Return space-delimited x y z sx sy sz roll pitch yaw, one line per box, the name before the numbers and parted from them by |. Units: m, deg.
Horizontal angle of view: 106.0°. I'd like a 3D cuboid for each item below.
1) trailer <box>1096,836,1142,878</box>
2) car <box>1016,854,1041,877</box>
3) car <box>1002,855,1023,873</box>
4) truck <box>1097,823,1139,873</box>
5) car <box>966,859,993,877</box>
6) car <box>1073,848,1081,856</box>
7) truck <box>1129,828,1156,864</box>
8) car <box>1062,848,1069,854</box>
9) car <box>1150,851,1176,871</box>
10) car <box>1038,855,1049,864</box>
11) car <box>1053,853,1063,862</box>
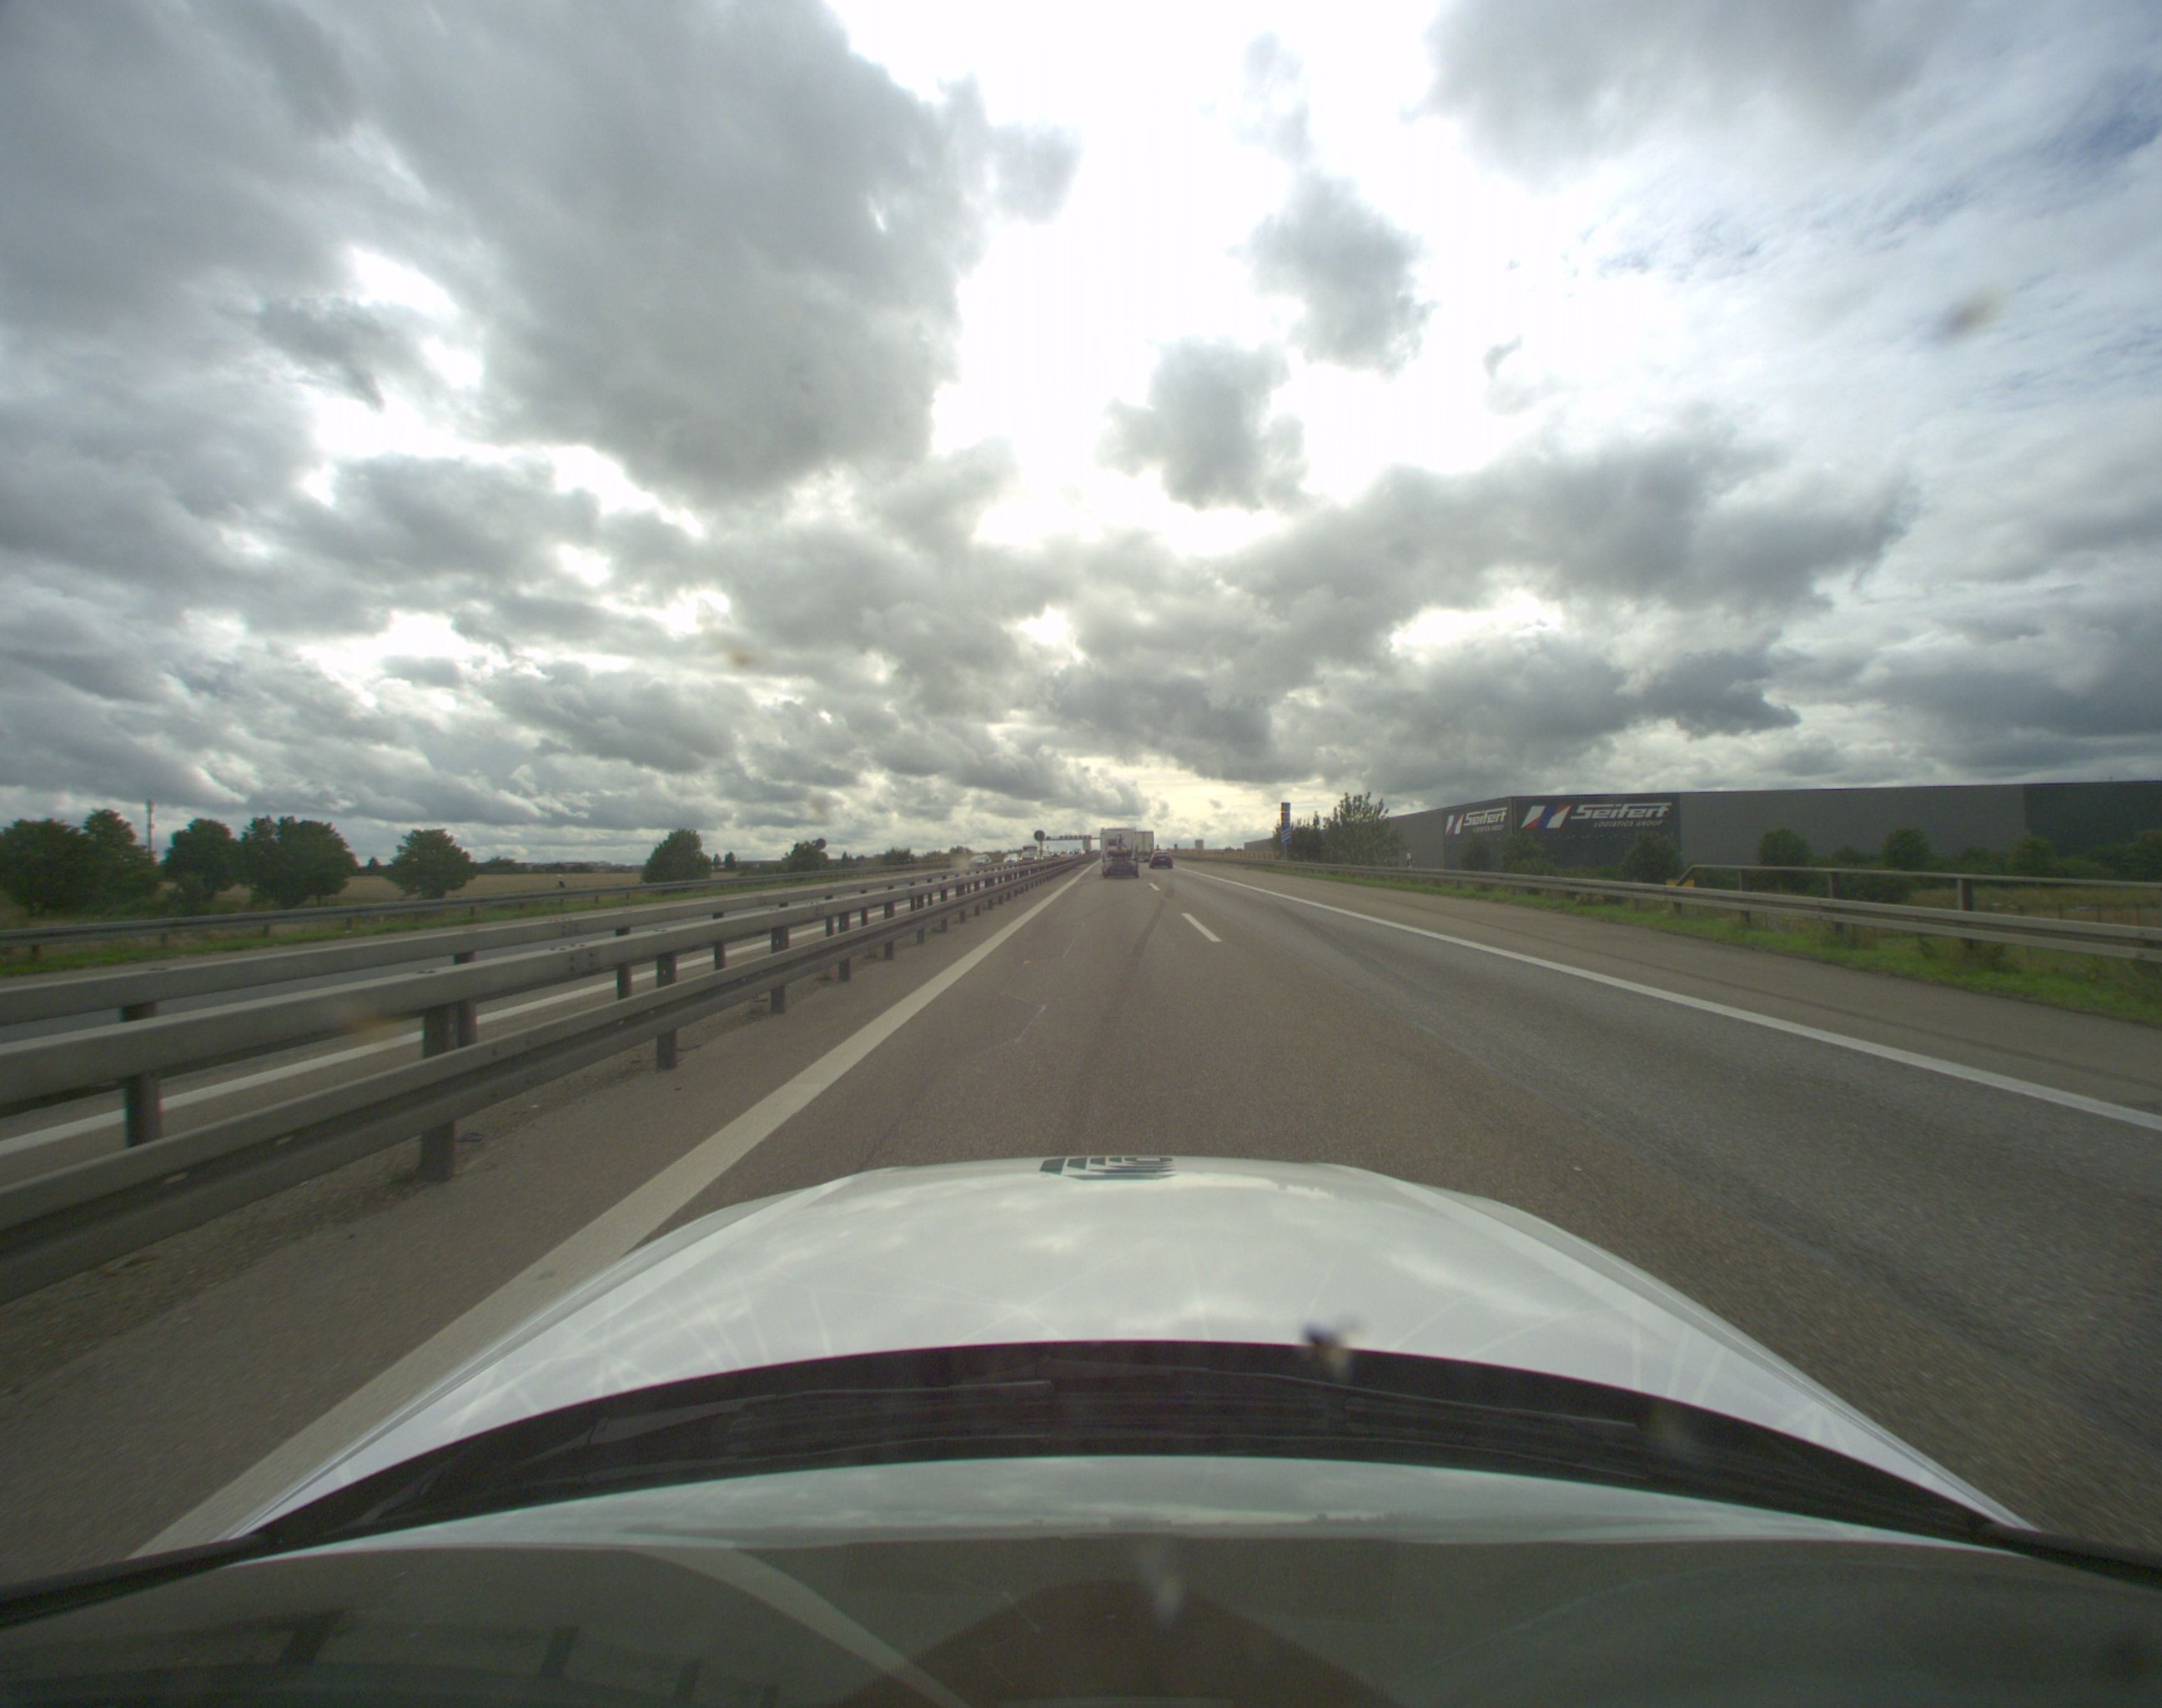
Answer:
trailer | 2.140 0.198 44.927 2.327 2.136 4.005 -2 -1 5
car | -4.796 1.004 75.247 1.987 2.013 4.384 -1 0 0
car | -8.173 1.217 97.636 1.987 2.014 4.383 -2 -1 0
truck | 2.358 -0.324 51.919 2.472 2.950 5.818 -2 -1 3
car | -9.101 1.264 73.204 1.750 1.468 4.561 -1 0 1
car | -0.973 -0.576 210.541 1.707 1.899 4.002 -2 -1 2
truck | 8.097 -0.938 108.387 3.234 4.525 7.069 -2 -1 2
car | -4.699 -0.944 246.920 1.931 1.684 4.002 0 1 2
car | 6.814 0.596 68.024 1.875 1.620 4.001 -2 -1 2
car | -7.092 1.054 154.288 1.745 1.786 4.002 -2 -1 2
car | -5.025 0.775 180.734 1.886 2.014 4.002 -2 -1 2
